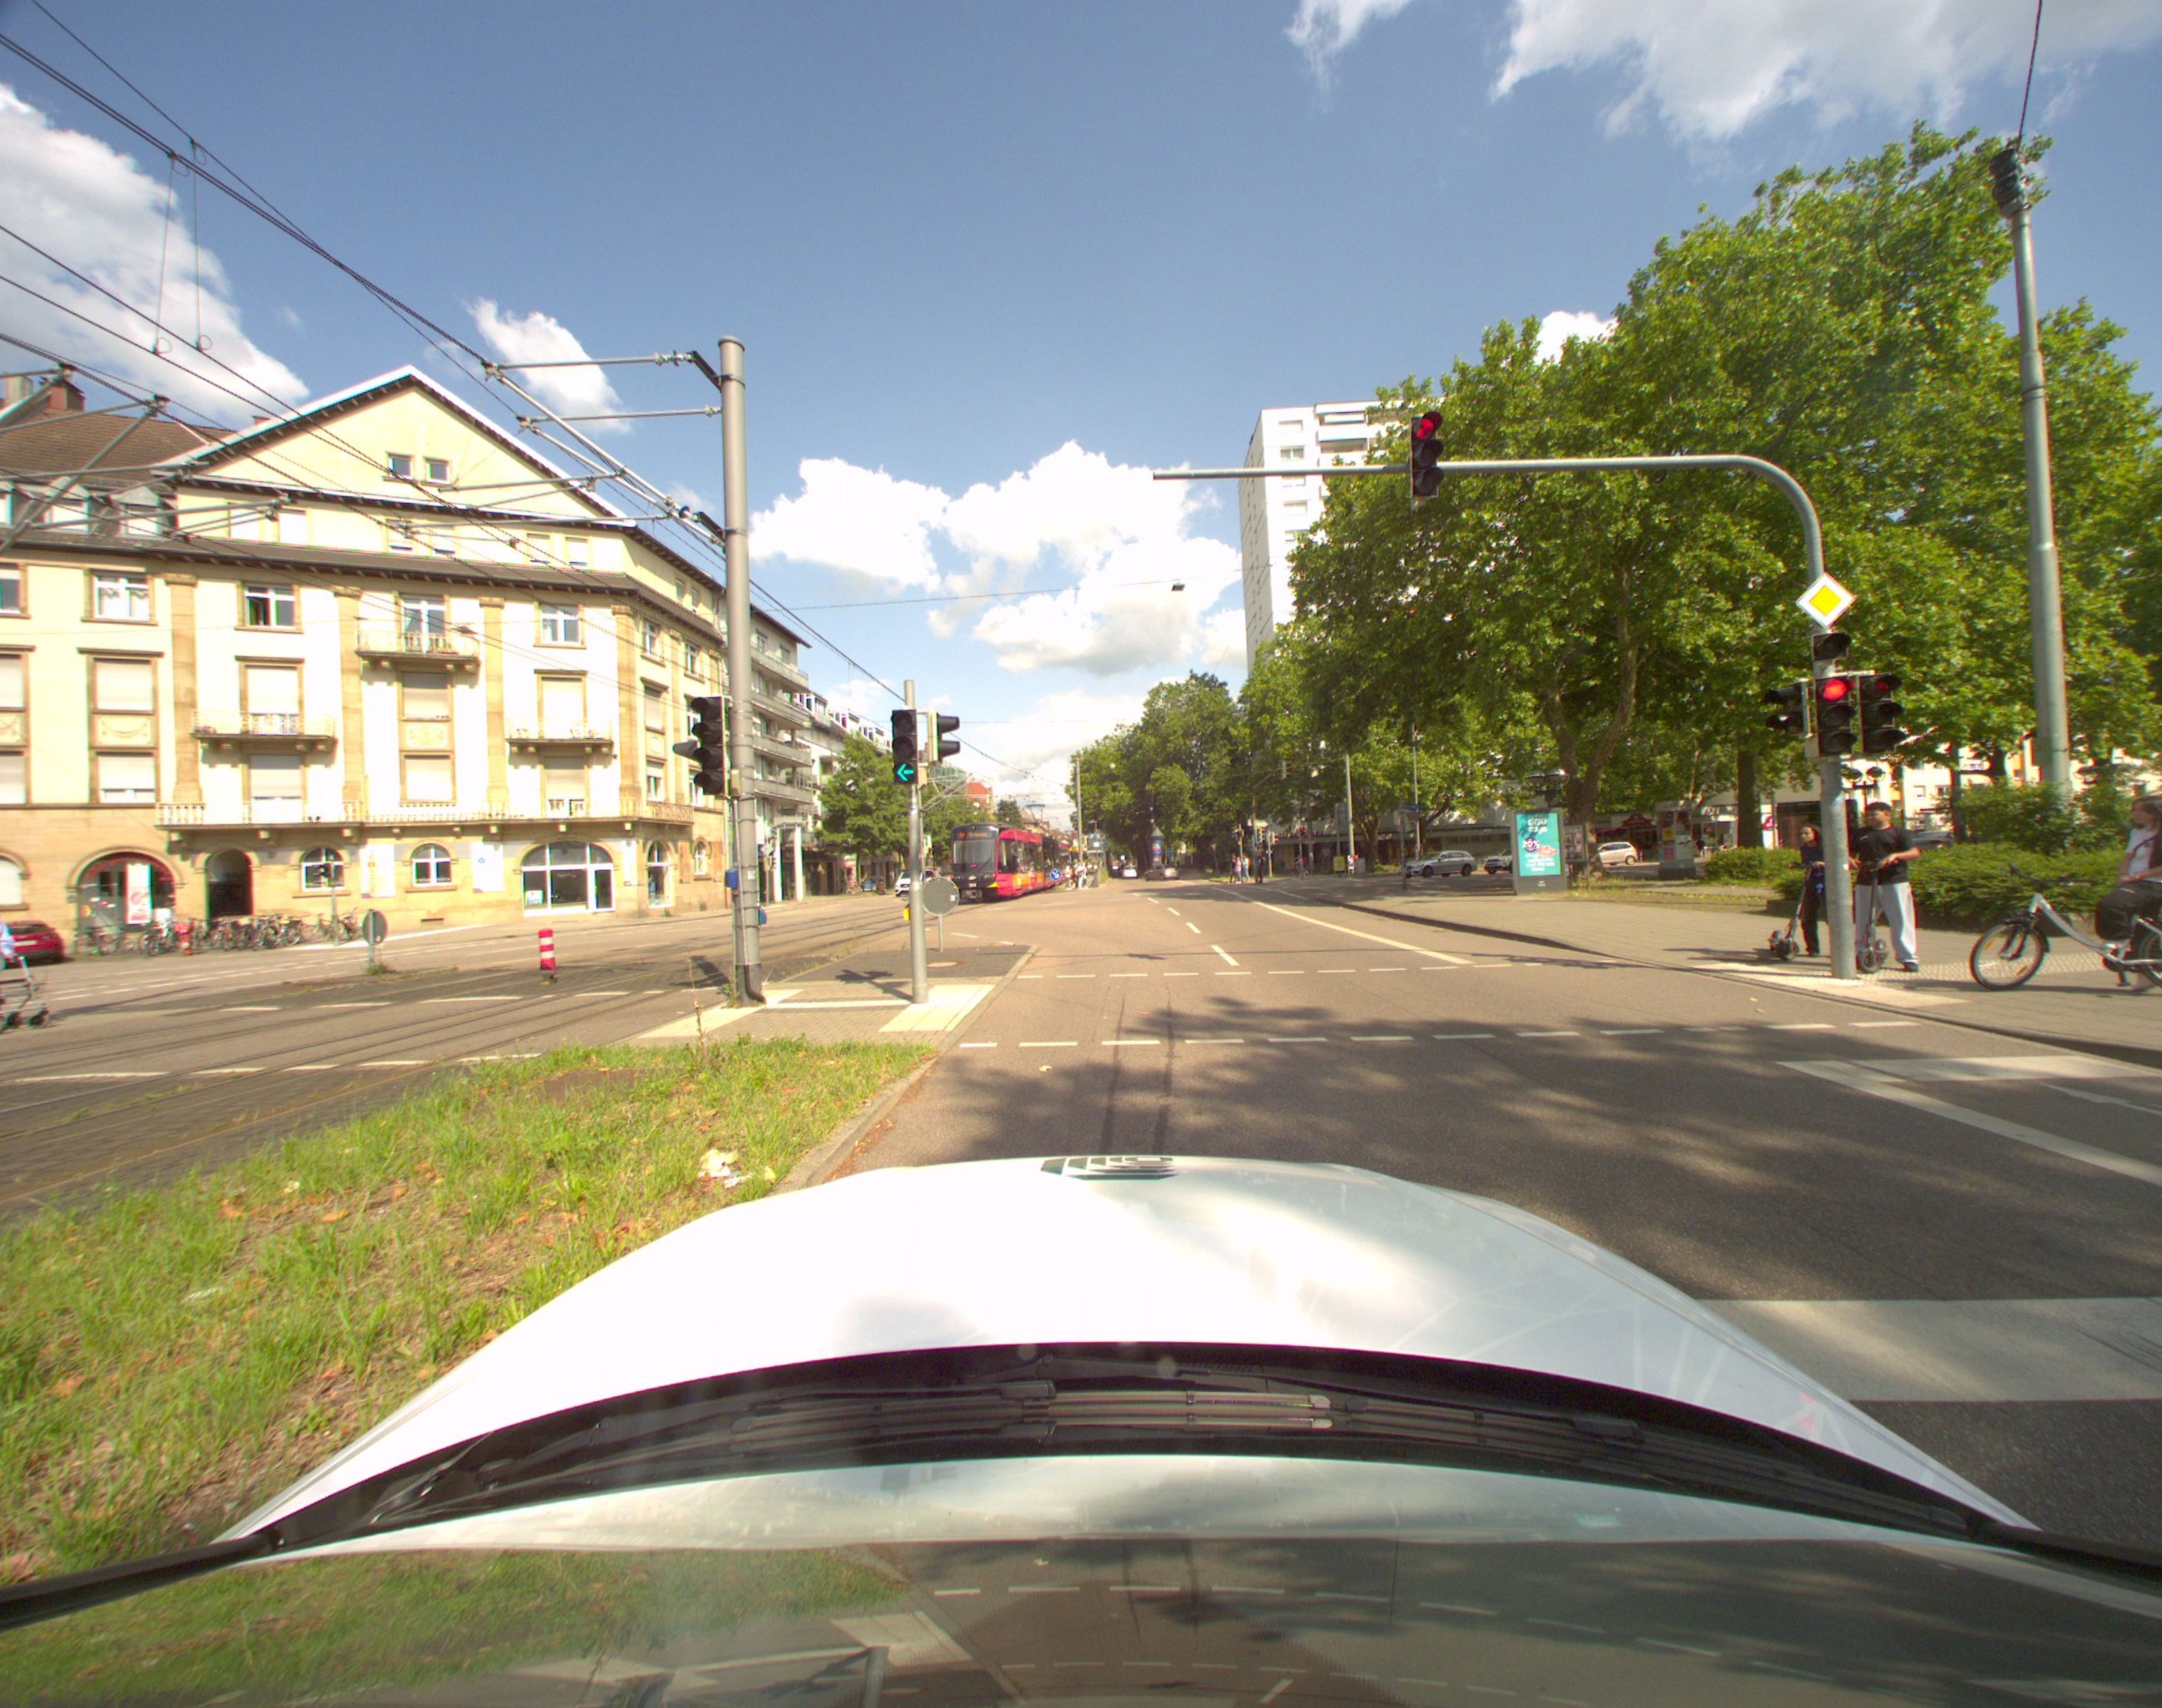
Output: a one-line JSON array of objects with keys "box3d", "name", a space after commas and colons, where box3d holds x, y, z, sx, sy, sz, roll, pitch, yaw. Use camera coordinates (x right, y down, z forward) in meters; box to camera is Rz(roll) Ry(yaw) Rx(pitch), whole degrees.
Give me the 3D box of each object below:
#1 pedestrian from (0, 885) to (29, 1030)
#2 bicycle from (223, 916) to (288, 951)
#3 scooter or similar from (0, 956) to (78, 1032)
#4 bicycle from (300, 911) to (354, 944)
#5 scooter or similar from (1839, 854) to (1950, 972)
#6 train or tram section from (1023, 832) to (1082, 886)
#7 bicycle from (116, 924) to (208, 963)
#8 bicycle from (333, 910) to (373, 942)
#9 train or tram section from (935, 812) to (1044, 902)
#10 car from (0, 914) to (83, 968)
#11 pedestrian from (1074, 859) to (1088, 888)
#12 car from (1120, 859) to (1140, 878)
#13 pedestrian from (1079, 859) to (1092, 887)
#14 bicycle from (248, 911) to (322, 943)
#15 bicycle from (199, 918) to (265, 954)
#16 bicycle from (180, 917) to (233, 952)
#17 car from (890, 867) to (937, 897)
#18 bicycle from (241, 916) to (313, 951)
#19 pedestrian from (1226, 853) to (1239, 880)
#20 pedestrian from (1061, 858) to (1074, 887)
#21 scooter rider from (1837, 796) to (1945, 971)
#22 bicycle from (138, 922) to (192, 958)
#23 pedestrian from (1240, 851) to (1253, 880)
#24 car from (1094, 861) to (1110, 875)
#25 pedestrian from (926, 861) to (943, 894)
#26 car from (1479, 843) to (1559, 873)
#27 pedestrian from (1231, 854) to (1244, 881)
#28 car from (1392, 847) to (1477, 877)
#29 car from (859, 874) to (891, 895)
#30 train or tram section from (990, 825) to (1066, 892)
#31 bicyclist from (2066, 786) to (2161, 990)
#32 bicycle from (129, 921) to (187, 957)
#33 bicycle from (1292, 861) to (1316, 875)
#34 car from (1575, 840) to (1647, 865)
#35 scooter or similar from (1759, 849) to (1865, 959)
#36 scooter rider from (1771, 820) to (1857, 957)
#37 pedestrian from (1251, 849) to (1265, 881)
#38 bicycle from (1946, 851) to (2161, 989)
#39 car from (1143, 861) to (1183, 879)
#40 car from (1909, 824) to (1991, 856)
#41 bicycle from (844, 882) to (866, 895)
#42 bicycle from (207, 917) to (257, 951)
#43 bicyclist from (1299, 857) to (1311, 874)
[{"box3d": [-13.262, 1.259, 9.758, 0.525, 1.732, 0.557, -3, -1, -3], "name": "pedestrian"}, {"box3d": [-29.733, 2.850, 29.373, 0.538, 1.018, 1.923, -2, 1, -8], "name": "bicycle"}, {"box3d": [-12.815, 1.686, 9.768, 0.836, 0.804, 0.553, -3, -1, -2], "name": "scooter or similar"}, {"box3d": [-28.637, 2.775, 30.973, 0.609, 1.018, 1.868, -2, 1, -13], "name": "bicycle"}, {"box3d": [8.751, 0.615, 8.796, 0.538, 1.171, 0.882, -5, -1, 28], "name": "scooter or similar"}, {"box3d": [-1.979, 0.360, 61.820, 2.792, 3.561, 12.173, -3, -1, 5], "name": "train or tram section"}, {"box3d": [-30.707, 2.982, 27.258, 1.938, 1.018, 0.534, -3, 2, -39], "name": "bicycle"}, {"box3d": [-27.888, 2.727, 31.216, 0.611, 1.018, 1.861, -2, 1, -25], "name": "bicycle"}, {"box3d": [-4.031, 0.164, 38.997, 2.782, 3.561, 11.392, -3, -1, 5], "name": "train or tram section"}, {"box3d": [-34.982, 2.849, 26.874, 3.948, 1.441, 1.981, -1, 1, 31], "name": "car"}, {"box3d": [0.014, 1.192, 49.177, 0.666, 1.703, 0.649, -3, -1, 5], "name": "pedestrian"}, {"box3d": [5.338, 1.566, 89.469, 1.986, 2.014, 4.001, -2, -1, 2], "name": "car"}, {"box3d": [0.305, 1.196, 51.262, 0.666, 1.703, 0.649, -3, -1, 5], "name": "pedestrian"}, {"box3d": [-30.245, 2.771, 30.961, 1.928, 1.018, 0.537, -2, 2, -20], "name": "bicycle"}, {"box3d": [-30.246, 2.911, 29.051, 0.538, 1.018, 1.923, -2, 2, -8], "name": "bicycle"}, {"box3d": [-31.846, 2.920, 29.677, 0.541, 1.018, 1.914, -2, 2, -23], "name": "bicycle"}, {"box3d": [-11.942, 1.958, 58.348, 1.985, 1.891, 5.176, -3, -1, 3], "name": "car"}, {"box3d": [-28.952, 2.847, 29.358, 0.598, 1.018, 1.879, -2, 1, 4], "name": "bicycle"}, {"box3d": [9.374, 0.781, 50.421, 0.512, 1.671, 0.553, -2, -1, -19], "name": "pedestrian"}, {"box3d": [-0.814, 1.106, 49.283, 0.666, 1.703, 0.649, -3, -1, 5], "name": "pedestrian"}, {"box3d": [8.730, 0.310, 8.803, 0.538, 1.810, 0.684, -5, -1, 28], "name": "scooter rider"}, {"box3d": [-31.873, 2.985, 28.374, 0.541, 1.018, 1.912, -3, 2, -27], "name": "bicycle"}, {"box3d": [9.843, 0.693, 48.439, 0.529, 1.735, 0.553, -2, -1, -19], "name": "pedestrian"}, {"box3d": [2.994, 1.937, 114.797, 1.806, 1.804, 4.006, -3, -1, 5], "name": "car"}, {"box3d": [-9.087, 1.469, 50.441, 0.734, 2.014, 0.705, -3, -1, 8], "name": "pedestrian"}, {"box3d": [25.707, 0.239, 47.842, 4.075, 1.490, 1.849, -2, -1, -19], "name": "car"}, {"box3d": [9.605, 0.811, 49.876, 0.512, 1.597, 0.553, -2, -1, -19], "name": "pedestrian"}, {"box3d": [19.710, 0.450, 45.461, 3.993, 1.490, 1.852, -3, -1, -15], "name": "car"}, {"box3d": [-19.081, 2.814, 75.733, 1.840, 1.789, 4.001, 0, -1, 2], "name": "car"}, {"box3d": [-3.032, 0.278, 50.211, 2.792, 3.561, 11.197, -3, -1, 5], "name": "train or tram section"}, {"box3d": [8.996, 0.279, 6.937, 0.576, 1.668, 0.510, -6, -2, 41], "name": "bicyclist"}, {"box3d": [-32.782, 2.999, 28.943, 0.541, 1.018, 1.914, -2, 2, -23], "name": "bicycle"}, {"box3d": [16.943, 1.054, 61.824, 1.661, 1.088, 0.485, -1, -1, 30], "name": "bicycle"}, {"box3d": [36.796, -0.089, 56.541, 3.832, 1.490, 1.857, -3, -1, -6], "name": "car"}, {"box3d": [8.902, 0.593, 9.919, 0.877, 1.226, 0.541, -4, -1, -20], "name": "scooter or similar"}, {"box3d": [8.941, 0.411, 9.942, 0.438, 1.593, 0.541, -4, -1, -20], "name": "scooter rider"}, {"box3d": [10.124, 0.618, 46.538, 0.475, 1.825, 0.560, -4, -1, 45], "name": "pedestrian"}, {"box3d": [8.820, 0.576, 7.114, 1.610, 1.112, 0.510, -6, -2, 42], "name": "bicycle"}, {"box3d": [7.023, 1.381, 70.257, 1.758, 1.453, 3.574, -3, -1, -26], "name": "car"}, {"box3d": [47.293, -0.756, 44.316, 4.003, 1.501, 1.678, -3, -1, -22], "name": "car"}, {"box3d": [-18.954, 2.920, 68.234, 1.684, 0.986, 0.497, -3, -1, -1], "name": "bicycle"}, {"box3d": [-31.220, 2.913, 29.977, 0.541, 1.018, 1.914, -2, 2, -23], "name": "bicycle"}, {"box3d": [16.998, 0.872, 61.785, 0.803, 1.251, 0.485, -1, -1, 30], "name": "bicyclist"}]
